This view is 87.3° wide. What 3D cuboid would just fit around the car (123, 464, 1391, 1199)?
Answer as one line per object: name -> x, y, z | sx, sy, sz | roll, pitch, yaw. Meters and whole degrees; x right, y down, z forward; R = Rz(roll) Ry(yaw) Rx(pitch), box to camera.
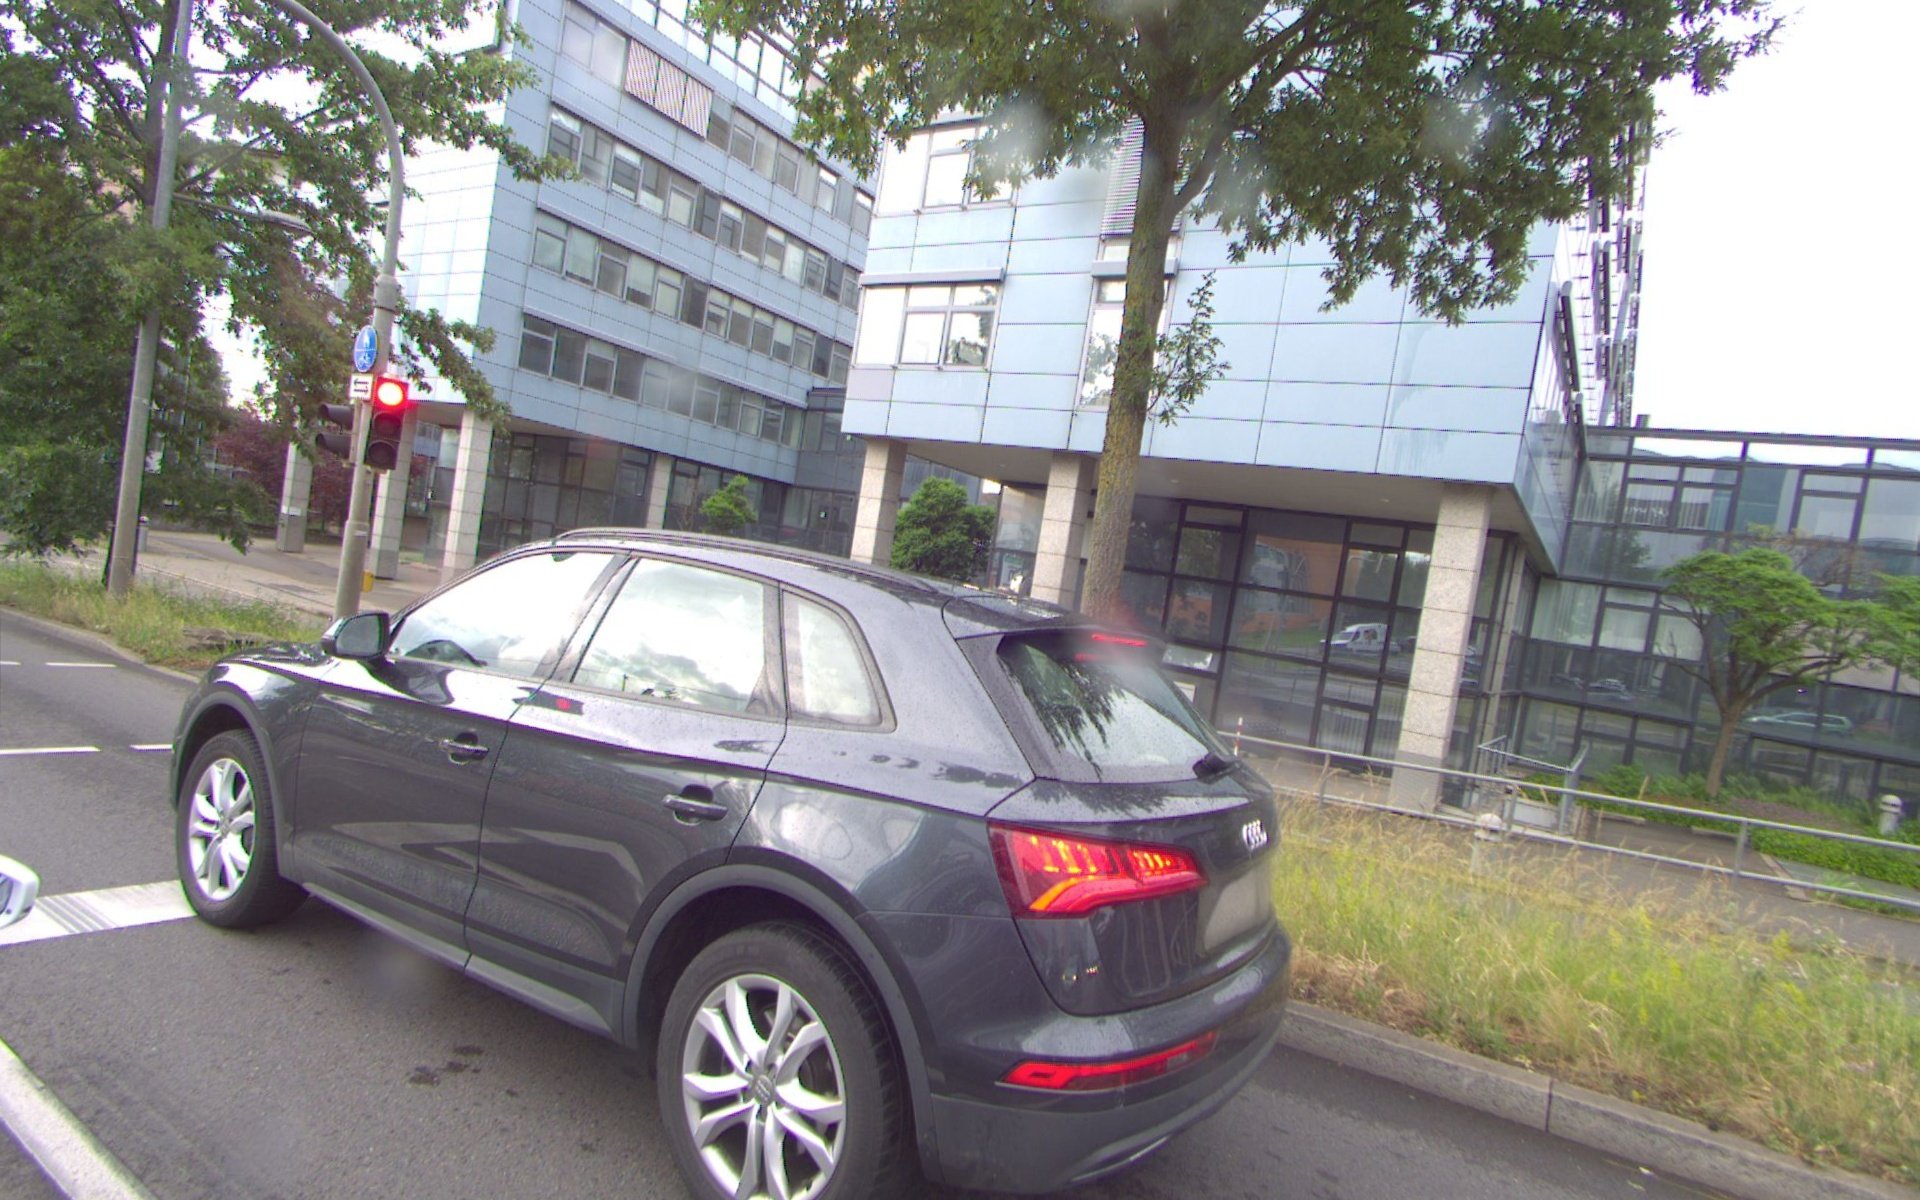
car -> -0.987, 0.567, 3.722 | 4.396, 1.632, 1.821 | 7, -1, 32
